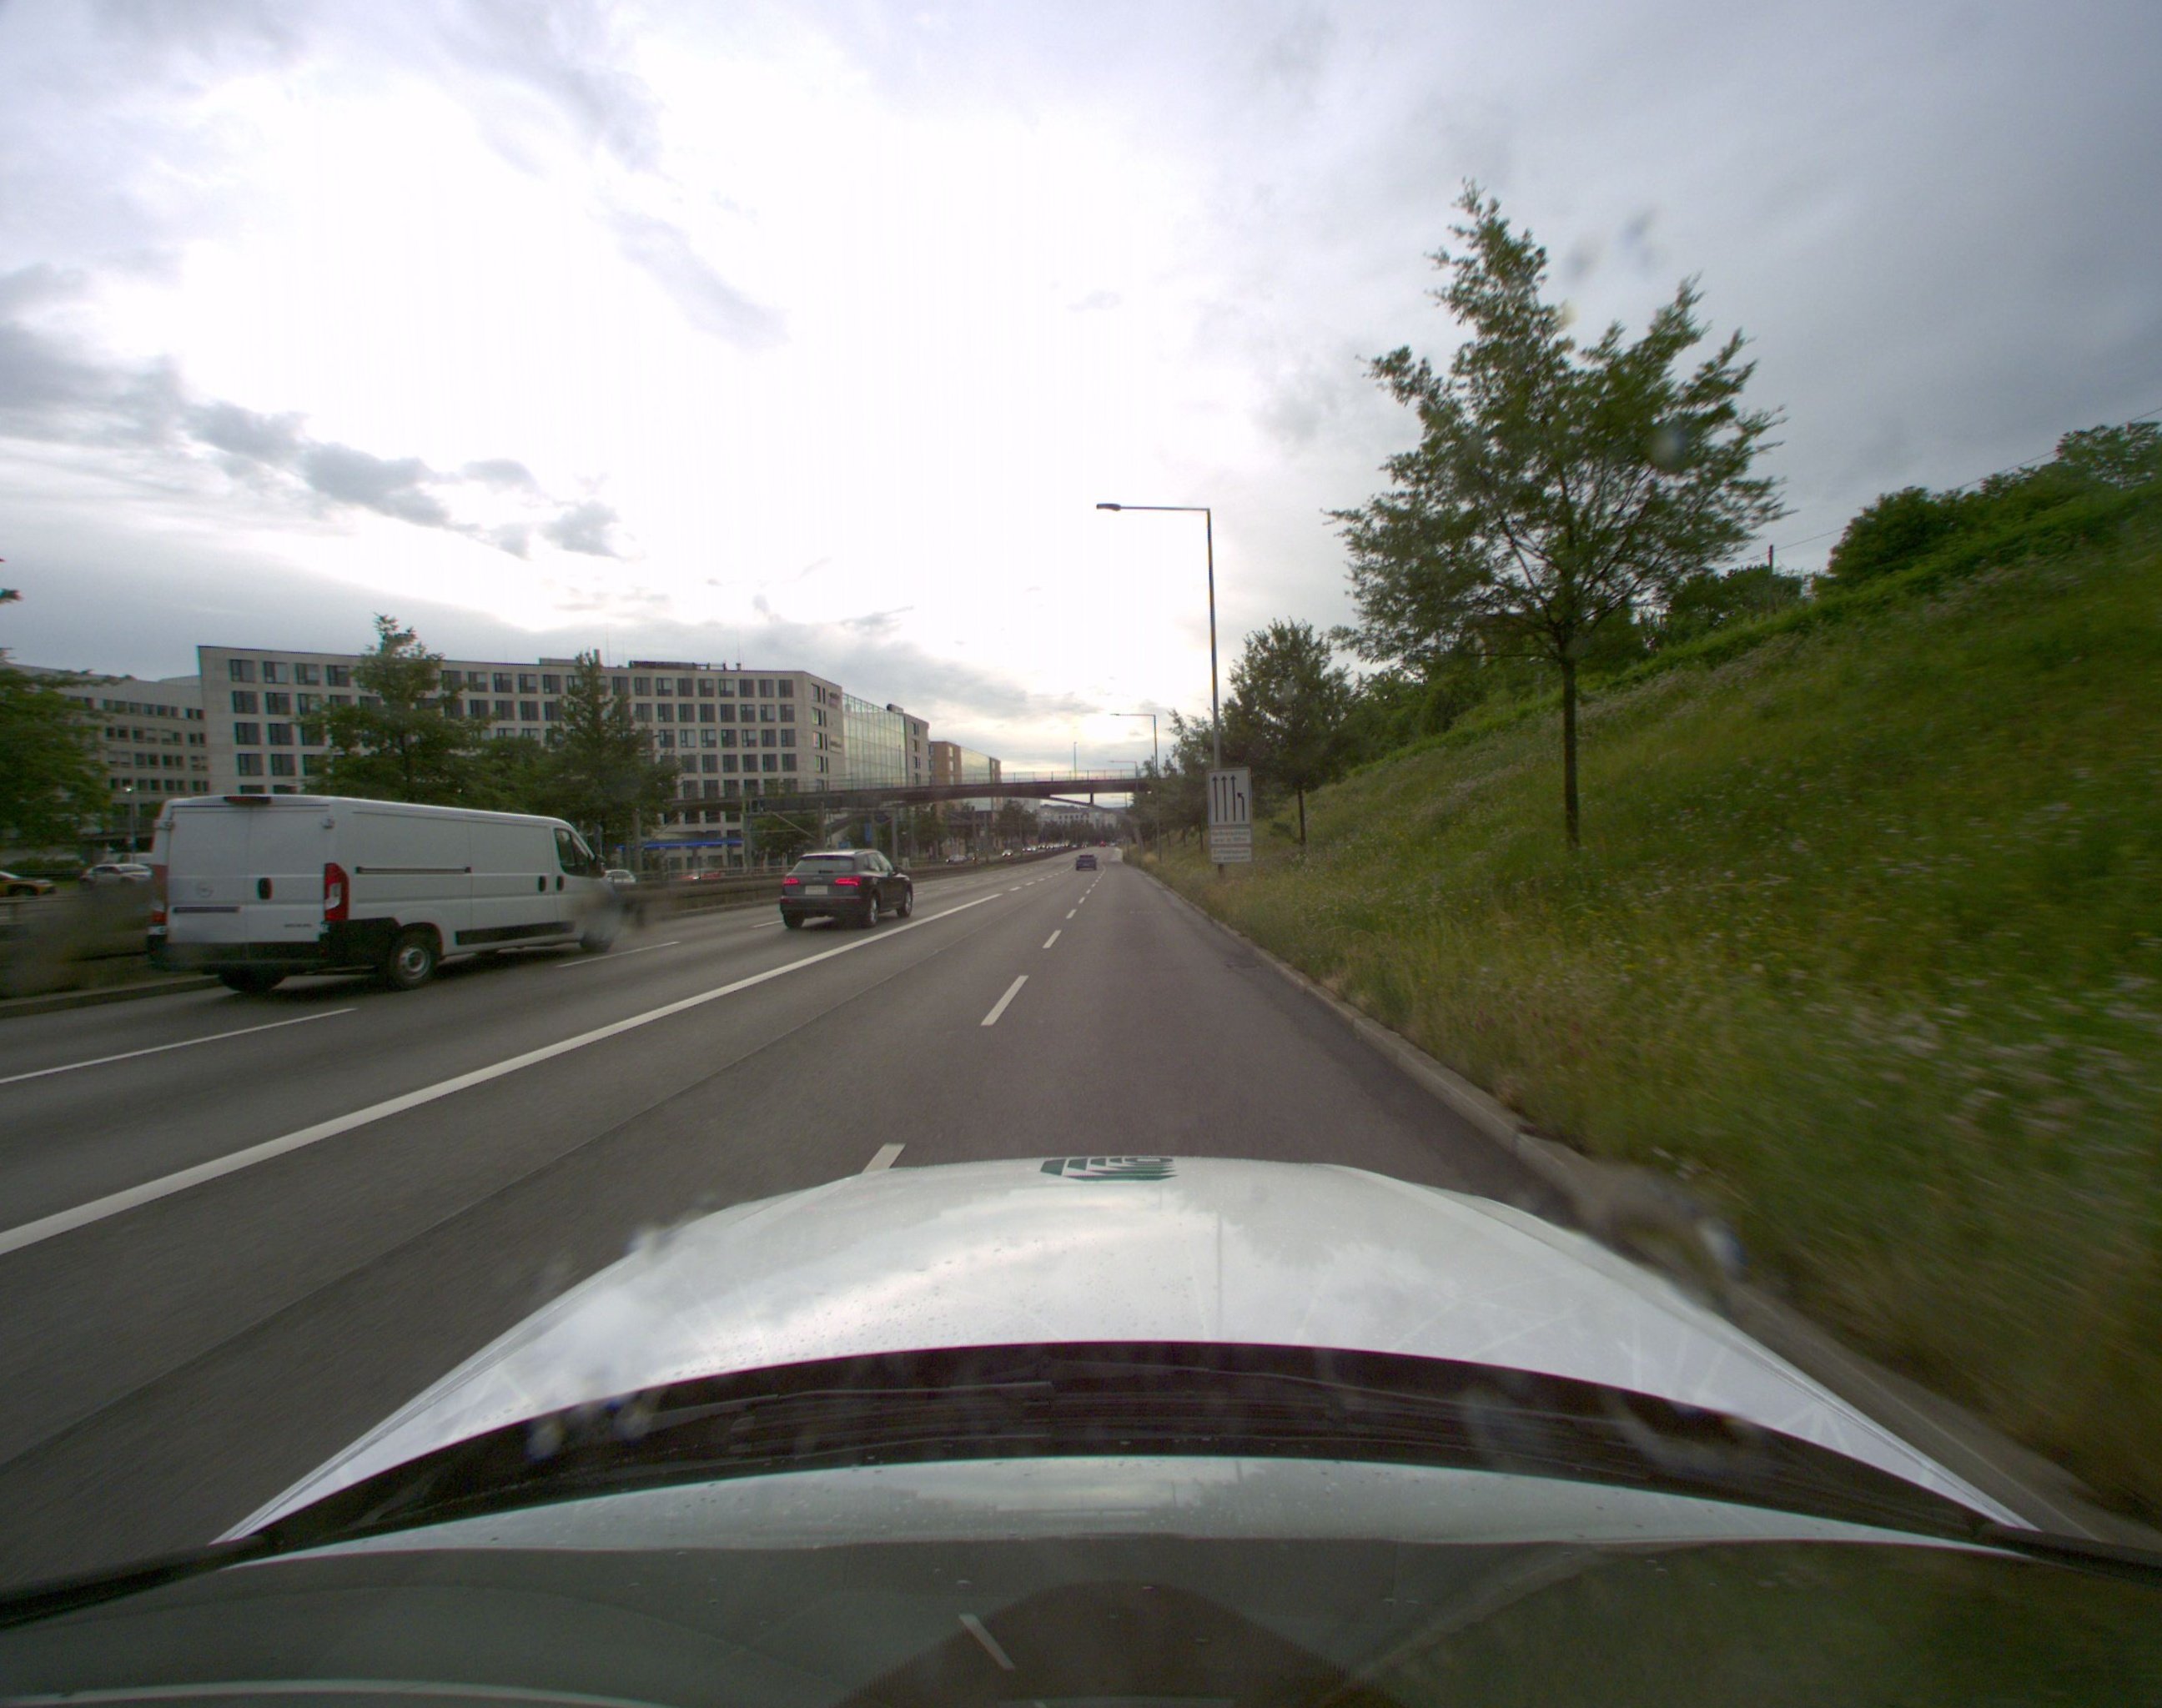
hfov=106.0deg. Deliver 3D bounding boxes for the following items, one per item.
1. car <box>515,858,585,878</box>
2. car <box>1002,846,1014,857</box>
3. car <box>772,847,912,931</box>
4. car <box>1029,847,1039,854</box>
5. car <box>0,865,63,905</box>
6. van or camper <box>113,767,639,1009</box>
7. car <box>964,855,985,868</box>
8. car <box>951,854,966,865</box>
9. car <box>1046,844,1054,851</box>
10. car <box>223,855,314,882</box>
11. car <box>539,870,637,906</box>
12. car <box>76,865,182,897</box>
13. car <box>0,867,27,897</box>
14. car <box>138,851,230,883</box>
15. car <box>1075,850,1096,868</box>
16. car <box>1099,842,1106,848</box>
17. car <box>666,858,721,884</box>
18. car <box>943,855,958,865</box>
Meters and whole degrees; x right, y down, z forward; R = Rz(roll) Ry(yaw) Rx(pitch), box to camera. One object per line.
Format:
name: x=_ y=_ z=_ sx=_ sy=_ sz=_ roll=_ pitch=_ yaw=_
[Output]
car: x=-39.301 y=1.030 z=60.324 sx=3.969 sy=1.354 sz=1.852 roll=0 pitch=1 yaw=4
car: x=-14.856 y=-0.490 z=164.953 sx=1.986 sy=2.013 sz=4.002 roll=0 pitch=3 yaw=1
car: x=-5.222 y=0.703 z=18.487 sx=1.745 sy=1.617 sz=4.748 roll=-1 pitch=0 yaw=0
car: x=-12.706 y=-1.033 z=219.763 sx=1.985 sy=1.735 sz=4.254 roll=0 pitch=3 yaw=4
car: x=-49.995 y=1.451 z=37.196 sx=4.022 sy=1.650 sz=1.976 roll=-3 pitch=4 yaw=-42
van or camper: x=-8.763 y=0.342 z=11.139 sx=2.195 sy=2.439 sz=5.533 roll=-1 pitch=0 yaw=2
car: x=-12.152 y=0.891 z=93.037 sx=1.742 sy=1.420 sz=3.480 roll=-1 pitch=0 yaw=2
car: x=-17.729 y=0.773 z=118.228 sx=1.511 sy=1.420 sz=3.480 roll=-2 pitch=1 yaw=2
car: x=-8.723 y=-1.889 z=228.621 sx=1.985 sy=2.013 sz=4.004 roll=-1 pitch=0 yaw=4
car: x=-54.444 y=0.960 z=54.646 sx=3.974 sy=1.650 sz=2.001 roll=0 pitch=3 yaw=0
car: x=-23.952 y=1.605 z=39.753 sx=1.983 sy=1.585 sz=4.007 roll=-3 pitch=-2 yaw=7
car: x=-54.123 y=1.505 z=46.354 sx=3.965 sy=1.650 sz=2.005 roll=0 pitch=3 yaw=7
car: x=-64.935 y=1.646 z=47.781 sx=3.963 sy=1.650 sz=2.006 roll=0 pitch=3 yaw=9
car: x=-64.113 y=0.875 z=58.322 sx=4.018 sy=2.048 sz=1.979 roll=-2 pitch=3 yaw=-36
car: x=0.418 y=0.390 z=71.098 sx=1.742 sy=1.420 sz=3.480 roll=-2 pitch=1 yaw=2
car: x=6.724 y=-2.772 z=256.680 sx=1.857 sy=1.749 sz=3.999 roll=0 pitch=3 yaw=-1
car: x=-28.532 y=1.207 z=60.092 sx=1.987 sy=1.777 sz=4.103 roll=0 pitch=0 yaw=1
car: x=-20.461 y=0.929 z=127.771 sx=1.511 sy=1.420 sz=3.480 roll=-2 pitch=1 yaw=2
